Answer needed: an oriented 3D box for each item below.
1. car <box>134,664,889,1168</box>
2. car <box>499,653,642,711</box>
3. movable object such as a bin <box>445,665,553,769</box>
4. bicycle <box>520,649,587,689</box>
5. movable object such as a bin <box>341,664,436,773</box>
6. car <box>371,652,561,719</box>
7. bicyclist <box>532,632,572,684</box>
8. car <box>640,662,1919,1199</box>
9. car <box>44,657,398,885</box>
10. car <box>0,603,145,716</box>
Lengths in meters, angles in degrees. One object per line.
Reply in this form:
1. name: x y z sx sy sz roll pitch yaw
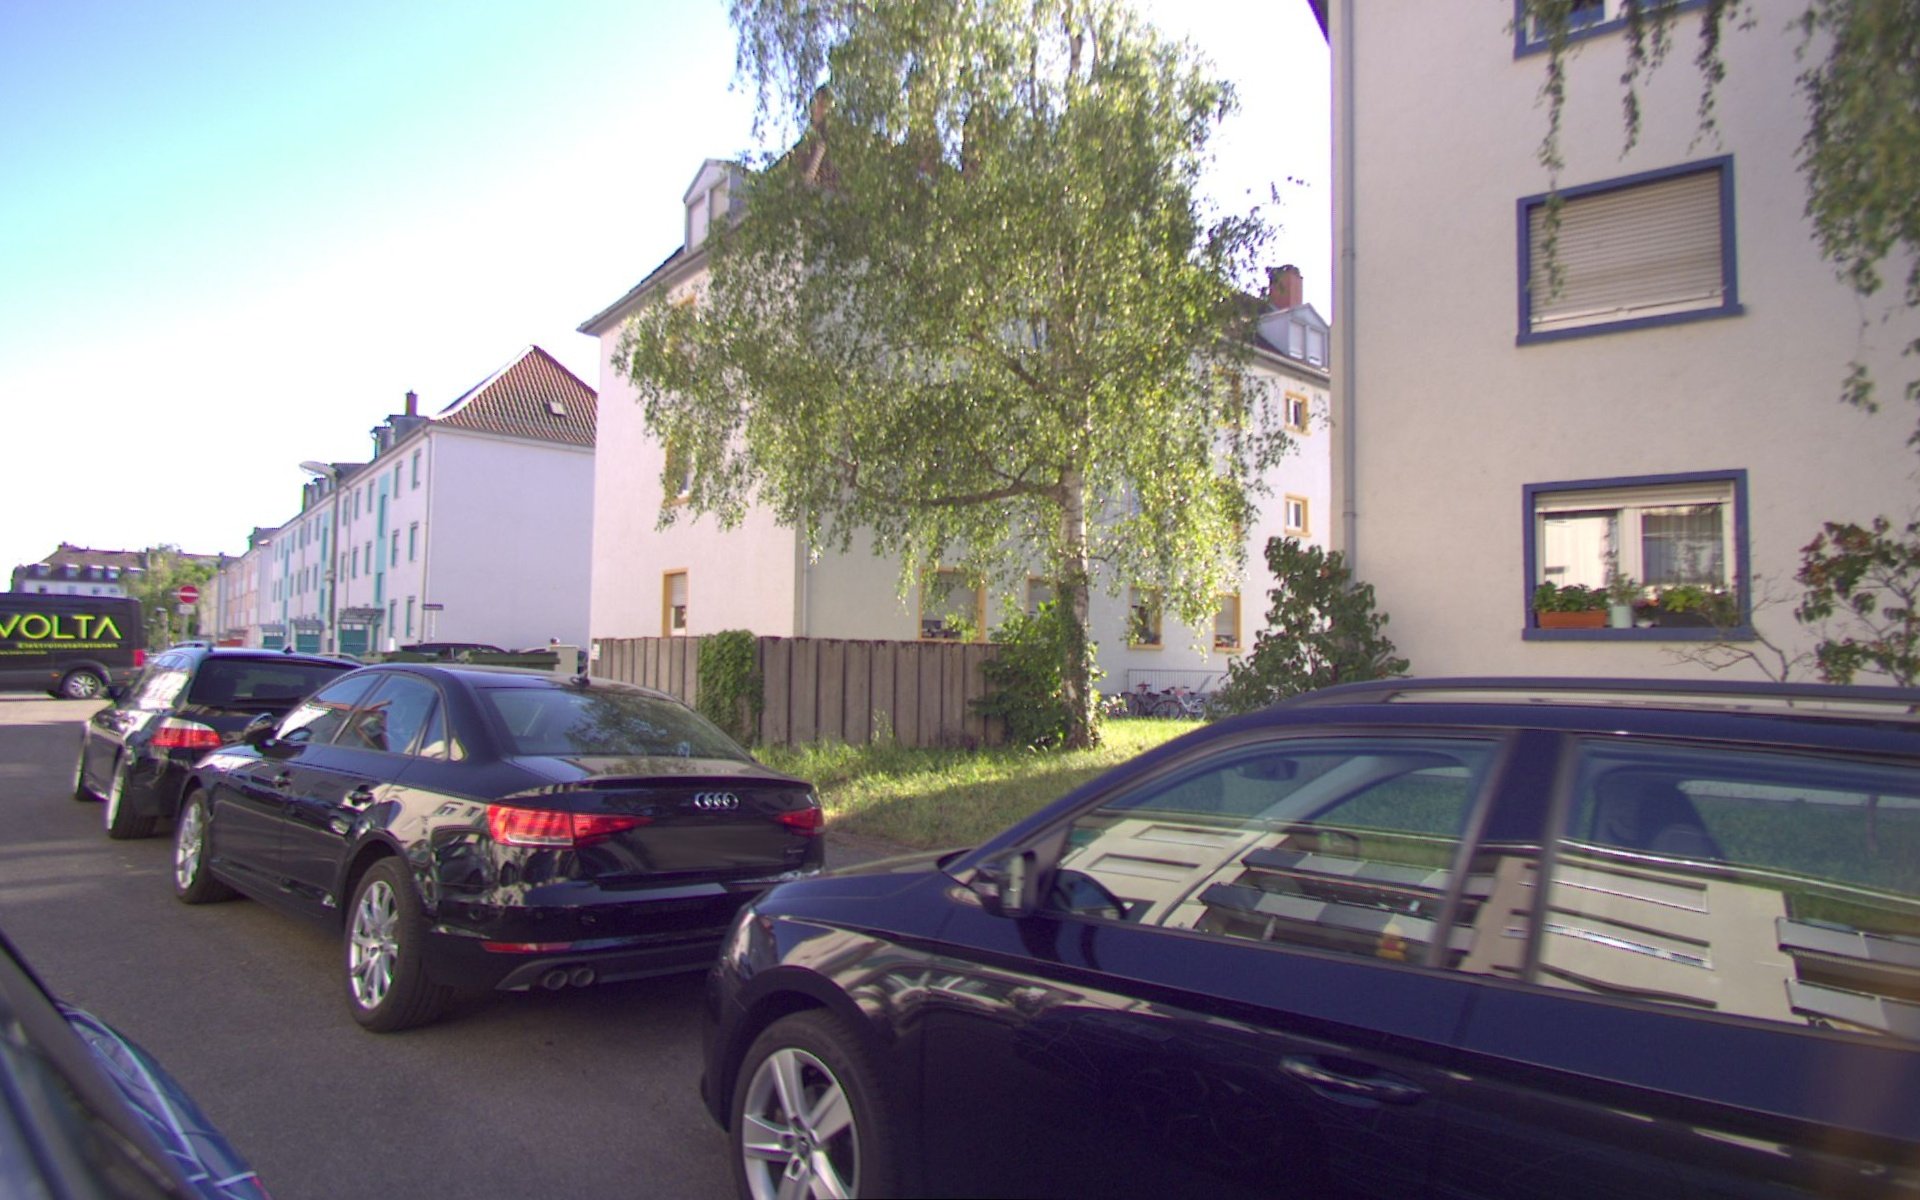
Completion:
1. car: -2.512 1.149 5.123 4.276 1.453 1.661 -2 -9 40
2. car: -12.897 2.746 33.645 3.937 1.708 1.868 7 -8 -40
3. movable object such as a bin: -6.478 1.613 14.234 1.204 1.391 0.769 4 -5 -37
4. bicycle: -12.762 2.180 31.806 0.629 1.123 1.790 -1 -8 44
5. movable object such as a bin: -7.870 1.598 13.926 0.766 1.403 1.419 6 -6 -42
6. car: -13.839 2.423 28.486 4.432 1.676 1.722 6 -5 -40
7. bicyclist: -12.815 1.828 31.797 0.598 1.591 0.894 -3 -8 44
8. car: 1.180 0.925 1.995 3.966 1.453 1.539 -2 -9 41
9. car: -6.574 1.291 8.769 1.659 1.464 4.623 10 -9 -44
10. car: -22.761 1.357 23.243 1.996 2.565 5.886 -3 -6 37
